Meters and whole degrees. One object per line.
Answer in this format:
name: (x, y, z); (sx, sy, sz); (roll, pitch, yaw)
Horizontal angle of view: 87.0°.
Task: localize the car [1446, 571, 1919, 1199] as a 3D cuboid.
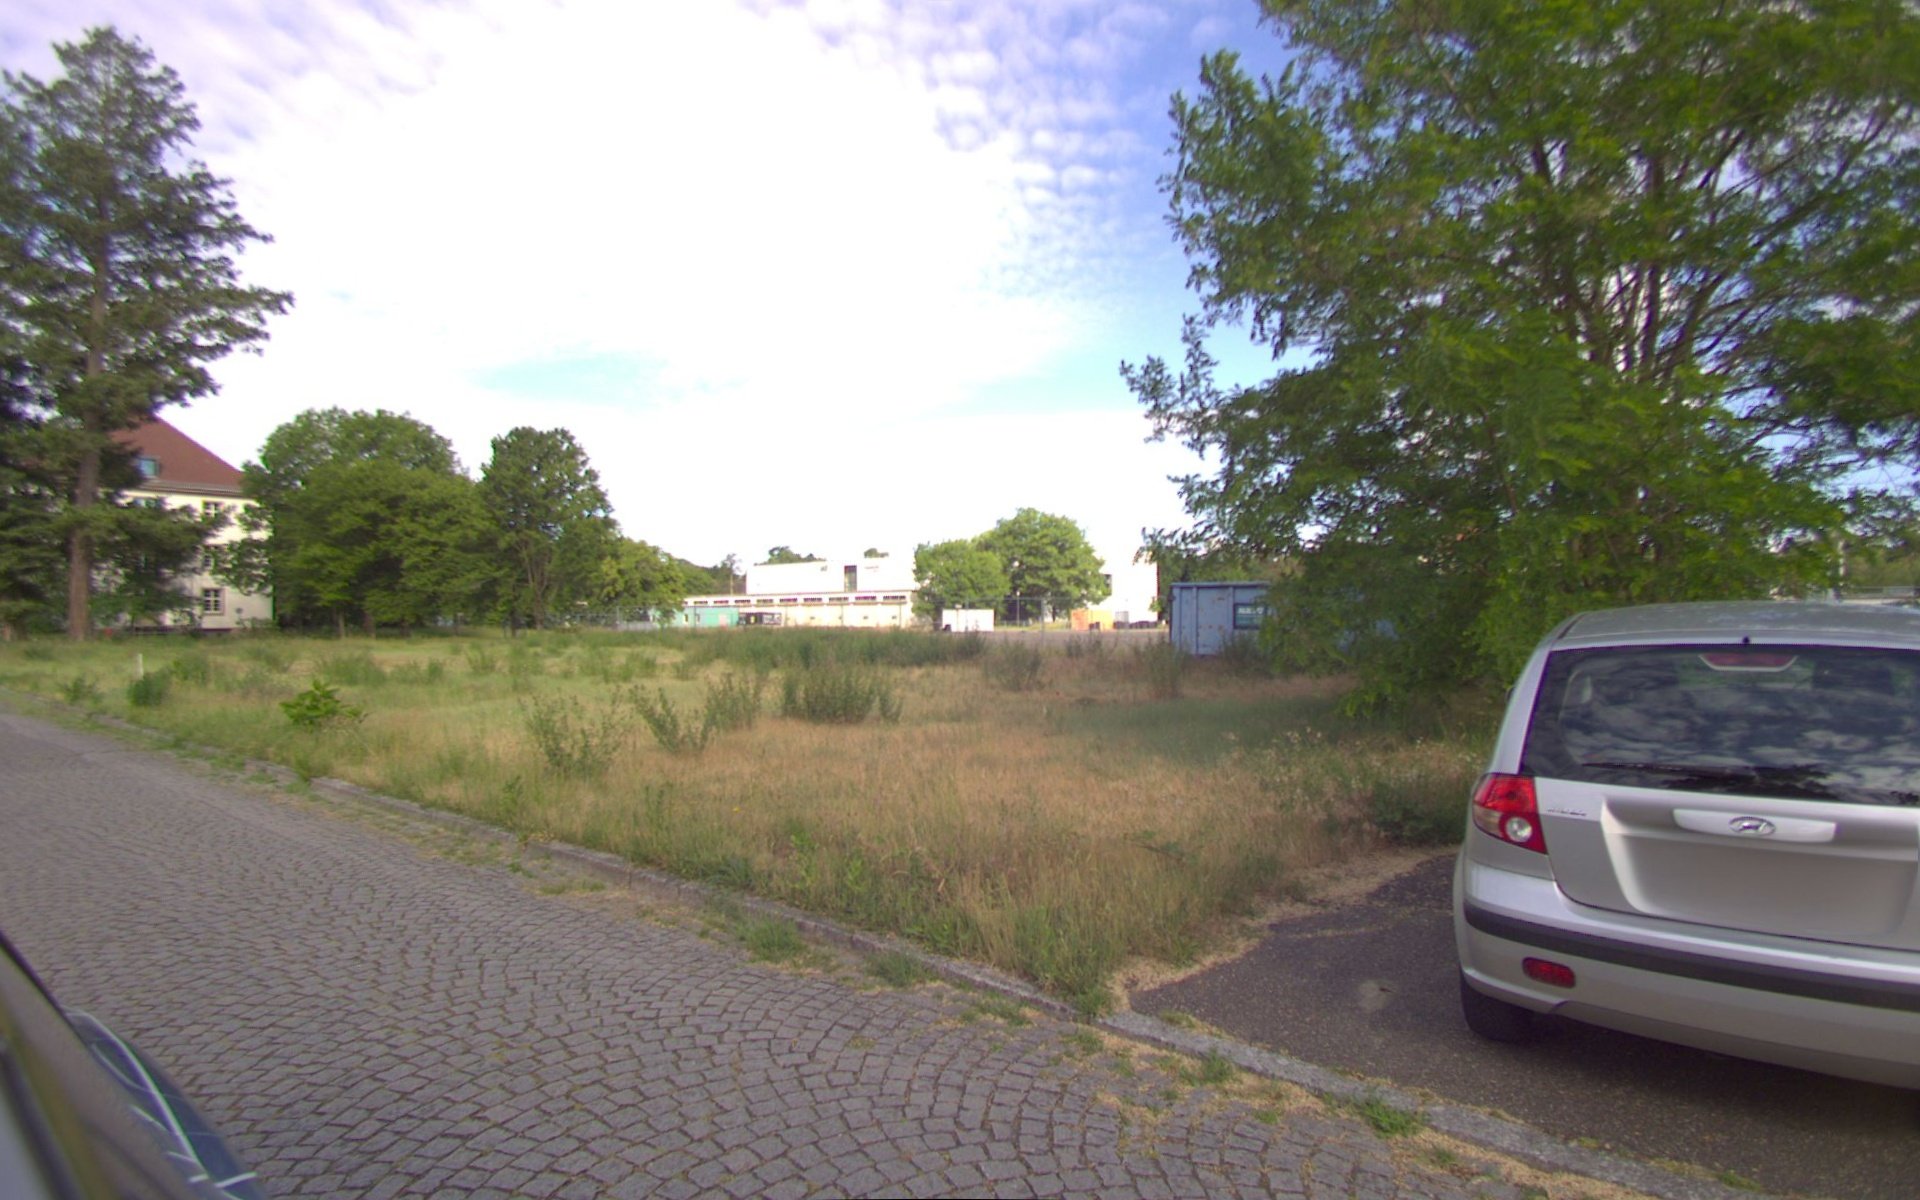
car: (3.222, 0.674, 3.989); (1.645, 1.486, 3.543); (-1, 1, 38)
